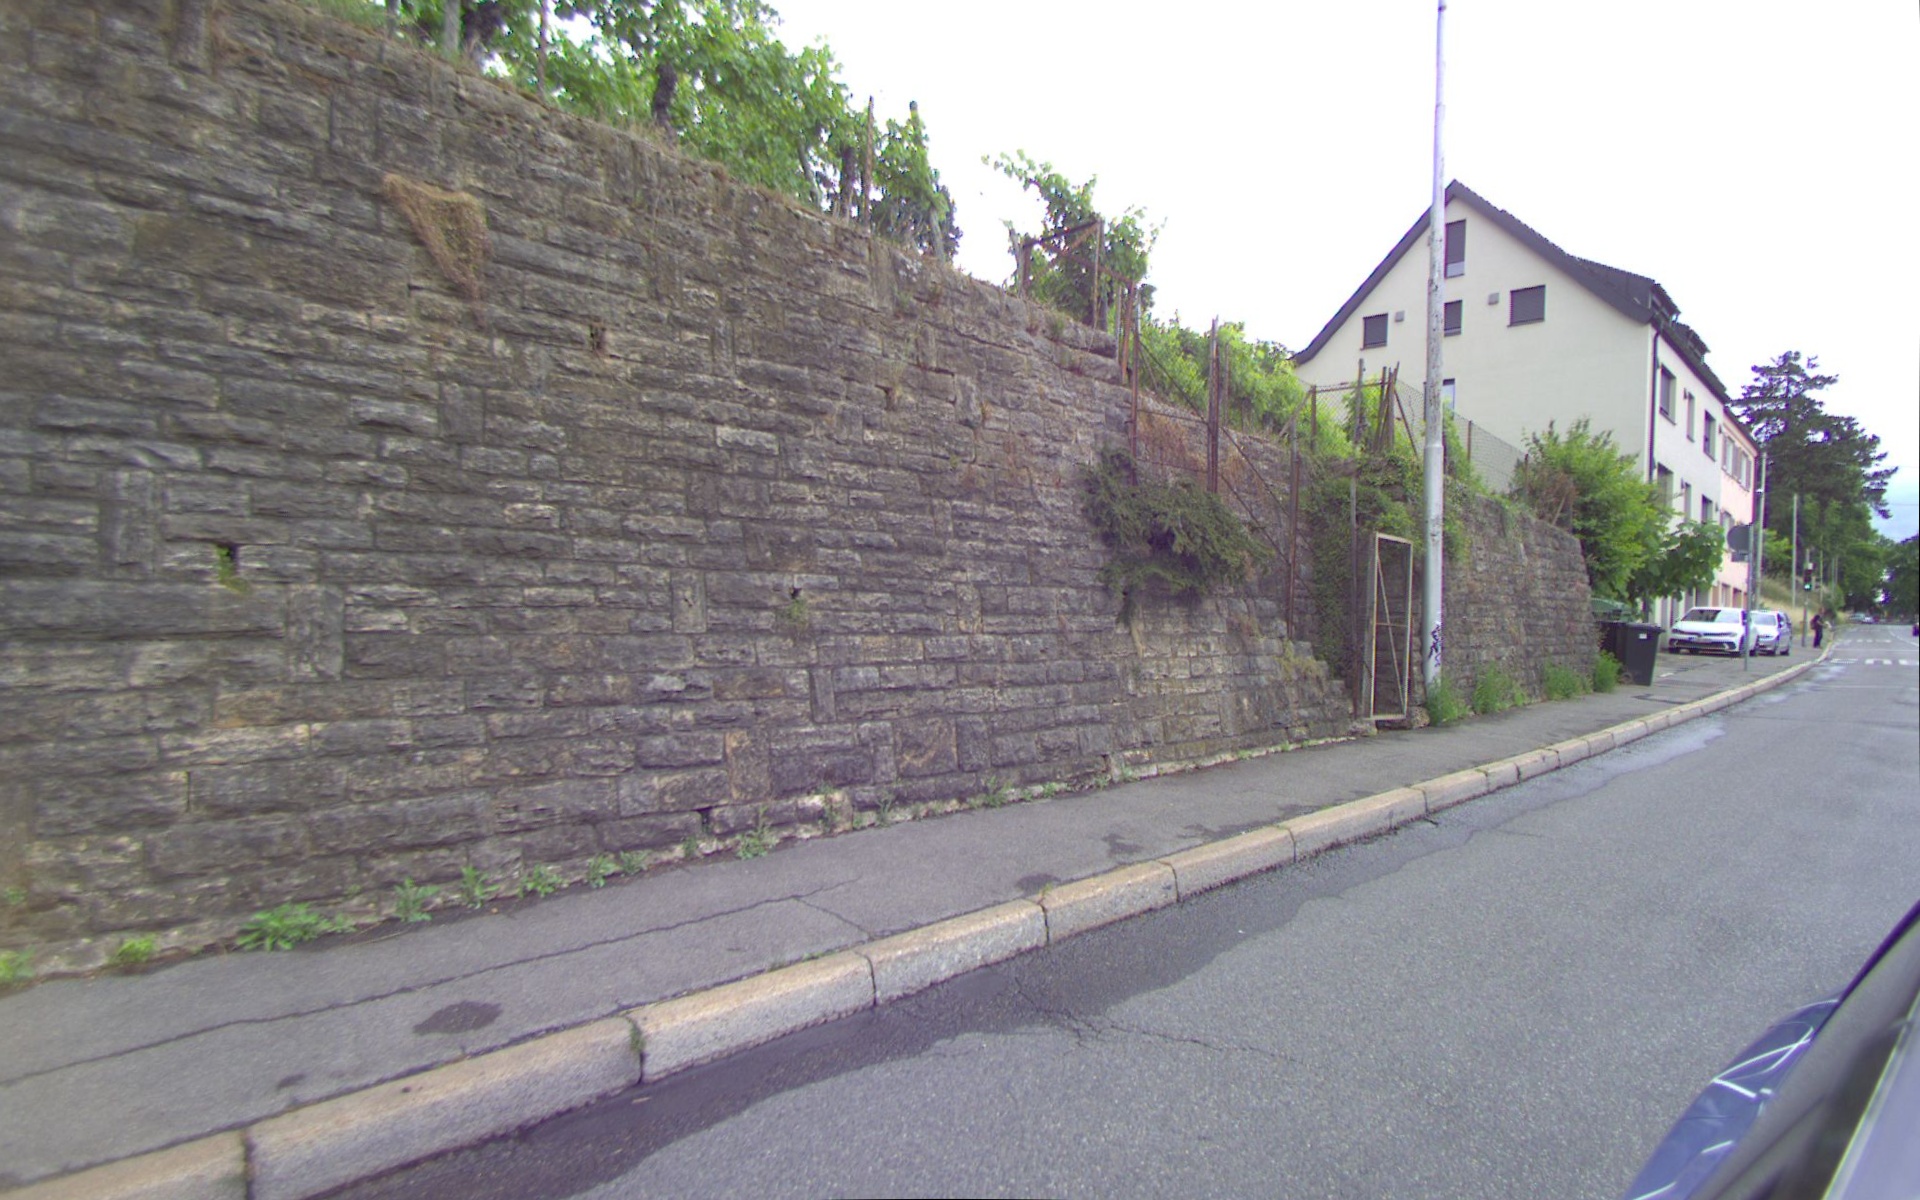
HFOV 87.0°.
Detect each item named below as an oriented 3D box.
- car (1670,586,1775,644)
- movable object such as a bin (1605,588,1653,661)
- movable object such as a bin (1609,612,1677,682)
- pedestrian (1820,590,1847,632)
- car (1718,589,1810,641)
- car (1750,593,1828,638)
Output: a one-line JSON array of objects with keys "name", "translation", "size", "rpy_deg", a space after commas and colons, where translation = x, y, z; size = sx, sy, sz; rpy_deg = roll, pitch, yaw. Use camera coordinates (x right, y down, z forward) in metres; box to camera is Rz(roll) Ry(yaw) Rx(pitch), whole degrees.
[{"name": "car", "translation": [22.550, 0.387, 29.892], "size": [3.987, 1.595, 1.796], "rpy_deg": [0, 0, -43]}, {"name": "movable object such as a bin", "translation": [14.828, 0.528, 22.423], "size": [0.750, 1.562, 1.049], "rpy_deg": [0, -1, 41]}, {"name": "movable object such as a bin", "translation": [11.770, 0.789, 17.443], "size": [0.860, 1.141, 0.810], "rpy_deg": [1, 0, -43]}, {"name": "pedestrian", "translation": [36.434, 0.444, 42.194], "size": [0.683, 1.733, 0.735], "rpy_deg": [1, 0, -39]}, {"name": "car", "translation": [26.271, 0.452, 33.007], "size": [4.177, 1.595, 1.729], "rpy_deg": [0, 0, -43]}, {"name": "car", "translation": [31.735, 0.553, 38.695], "size": [4.180, 1.595, 1.904], "rpy_deg": [0, 0, -45]}]
